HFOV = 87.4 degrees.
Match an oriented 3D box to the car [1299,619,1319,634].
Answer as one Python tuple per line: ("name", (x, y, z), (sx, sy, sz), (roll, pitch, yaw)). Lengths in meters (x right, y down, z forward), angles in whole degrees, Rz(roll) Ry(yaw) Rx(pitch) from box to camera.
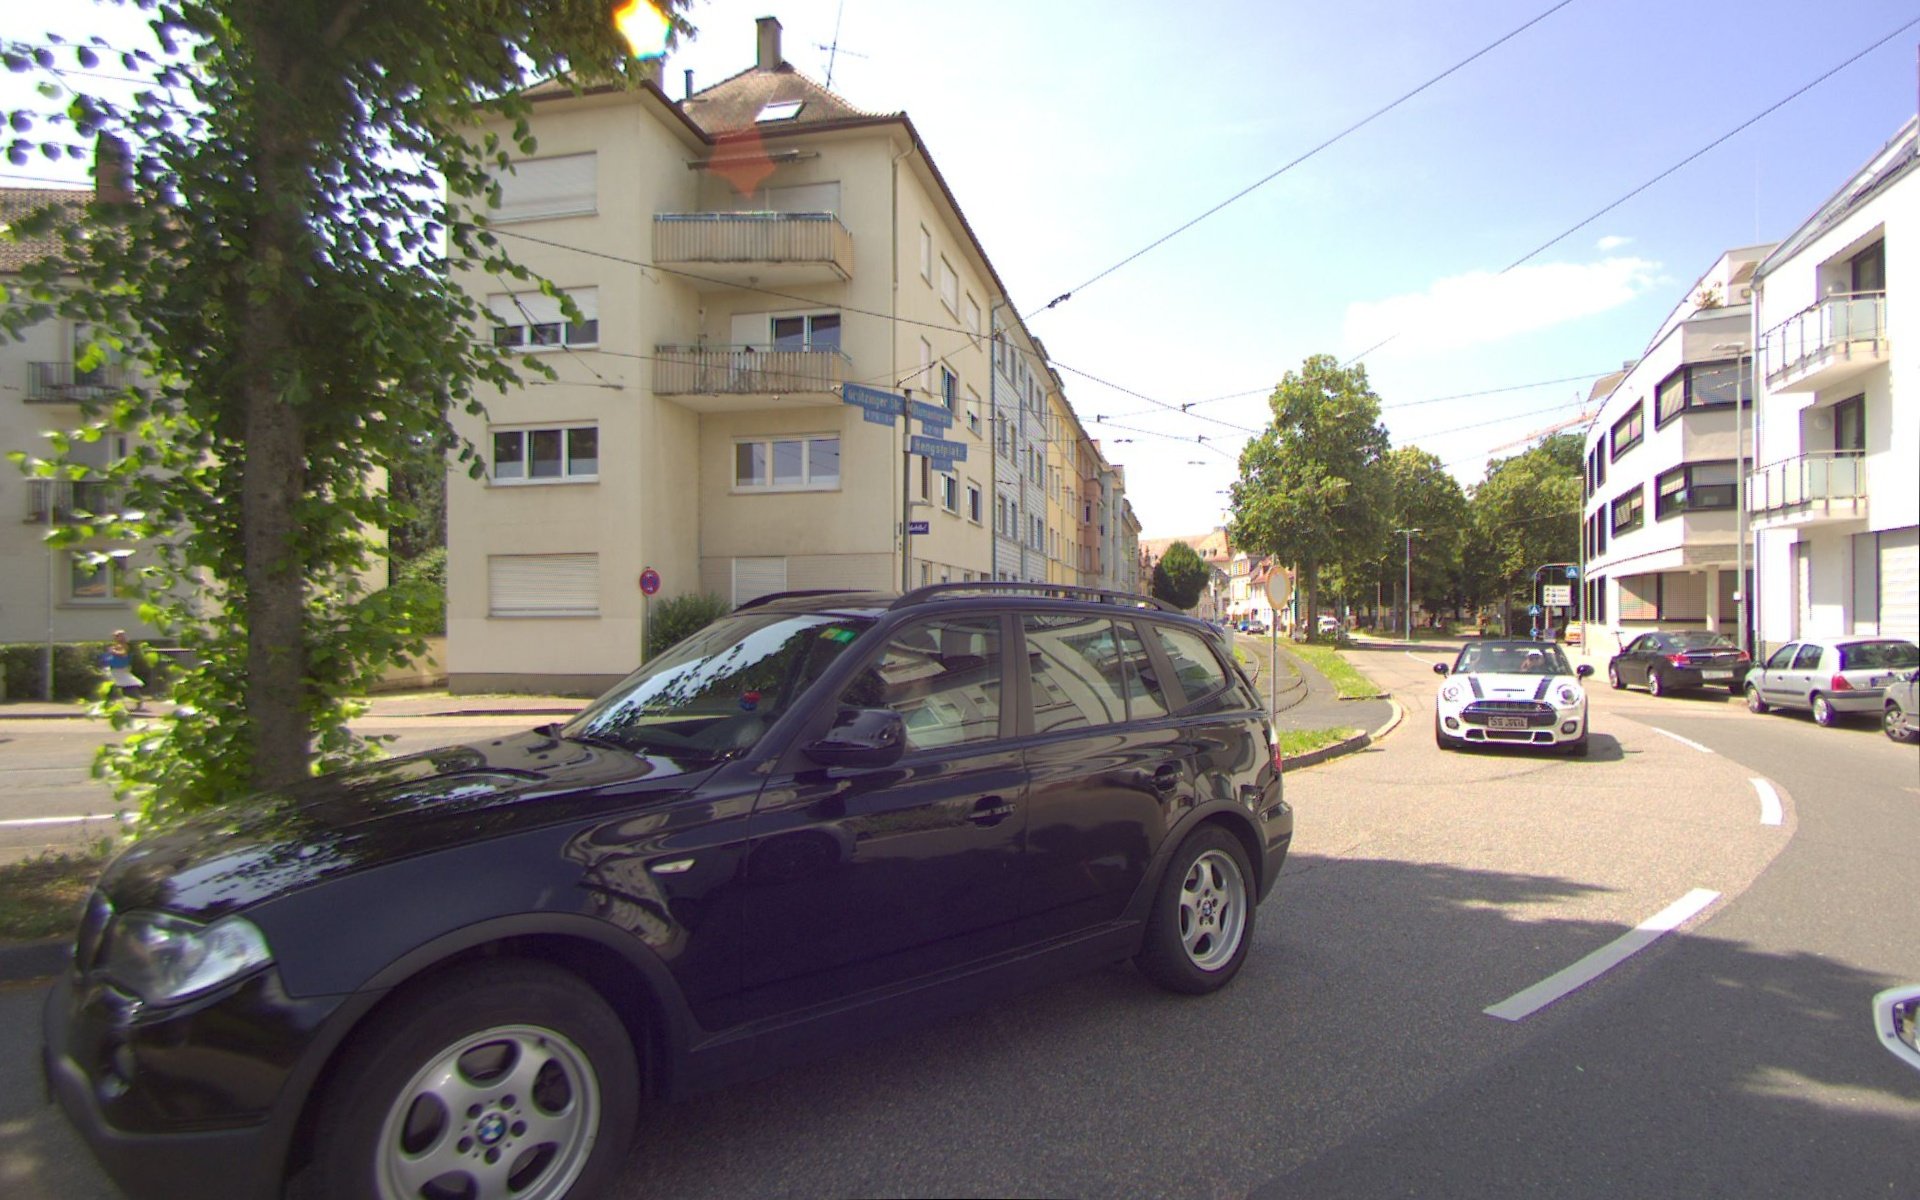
("car", (39.765, 2.995, 114.400), (1.753, 1.645, 4.488), (0, -1, 14))

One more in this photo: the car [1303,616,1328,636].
("car", (37.835, 2.704, 107.058), (2.014, 2.029, 5.251), (0, -1, 14))

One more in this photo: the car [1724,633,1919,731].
("car", (15.173, 1.365, 17.619), (1.566, 1.451, 3.708), (-4, -3, 18))

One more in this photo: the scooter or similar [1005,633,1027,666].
("scooter or similar", (2.216, 1.937, 39.440), (0.627, 1.239, 1.321), (1, 1, 14))

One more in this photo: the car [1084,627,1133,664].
("car", (6.705, 2.013, 45.013), (1.895, 1.470, 4.379), (-3, -1, 11))

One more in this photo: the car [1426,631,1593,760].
("car", (7.459, 1.175, 13.682), (1.747, 1.483, 3.741), (-1, -2, 29))

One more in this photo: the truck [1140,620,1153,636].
("truck", (17.581, 2.635, 94.549), (1.106, 1.514, 2.596), (-2, -1, 12))

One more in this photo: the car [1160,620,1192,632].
("car", (28.837, 3.507, 134.286), (4.131, 1.525, 2.005), (-2, -1, 9))

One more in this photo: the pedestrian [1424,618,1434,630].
("pedestrian", (50.655, 2.609, 108.467), (0.892, 1.269, 1.146), (0, 1, 28))

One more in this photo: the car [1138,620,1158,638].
("car", (16.904, 2.590, 90.286), (1.544, 1.470, 3.628), (-2, -1, 13))

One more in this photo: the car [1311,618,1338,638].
("car", (35.774, 2.728, 98.733), (1.959, 1.850, 4.425), (0, -1, 13))

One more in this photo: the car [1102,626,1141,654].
("car", (8.900, 2.170, 55.029), (1.799, 1.418, 4.145), (-1, -1, 13))

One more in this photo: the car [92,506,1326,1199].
("car", (-0.485, 0.750, 3.899), (4.298, 1.653, 1.839), (2, -3, -43))

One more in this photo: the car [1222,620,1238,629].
("car", (44.155, 3.979, 164.351), (1.829, 1.506, 4.002), (0, -1, 6))

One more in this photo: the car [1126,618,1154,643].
("car", (13.541, 2.276, 75.490), (1.805, 1.708, 4.145), (-2, -1, 13))

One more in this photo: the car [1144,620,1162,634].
("car", (20.248, 2.862, 105.161), (1.657, 1.378, 3.860), (-2, -1, 13))

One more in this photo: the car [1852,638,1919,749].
("car", (13.685, 1.237, 13.094), (1.699, 1.451, 4.041), (-4, -3, 22))

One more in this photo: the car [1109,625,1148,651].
("car", (10.188, 2.264, 60.341), (1.895, 1.416, 4.866), (-2, -1, 14))

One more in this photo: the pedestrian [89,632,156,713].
("pedestrian", (-16.885, 1.443, 20.260), (0.730, 1.580, 0.776), (0, 0, -8))

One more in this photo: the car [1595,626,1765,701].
("car", (16.951, 1.454, 23.930), (1.770, 1.529, 4.550), (-4, -3, 16))

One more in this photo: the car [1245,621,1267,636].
("car", (32.109, 3.076, 109.055), (1.871, 1.554, 4.246), (1, -1, 11))
